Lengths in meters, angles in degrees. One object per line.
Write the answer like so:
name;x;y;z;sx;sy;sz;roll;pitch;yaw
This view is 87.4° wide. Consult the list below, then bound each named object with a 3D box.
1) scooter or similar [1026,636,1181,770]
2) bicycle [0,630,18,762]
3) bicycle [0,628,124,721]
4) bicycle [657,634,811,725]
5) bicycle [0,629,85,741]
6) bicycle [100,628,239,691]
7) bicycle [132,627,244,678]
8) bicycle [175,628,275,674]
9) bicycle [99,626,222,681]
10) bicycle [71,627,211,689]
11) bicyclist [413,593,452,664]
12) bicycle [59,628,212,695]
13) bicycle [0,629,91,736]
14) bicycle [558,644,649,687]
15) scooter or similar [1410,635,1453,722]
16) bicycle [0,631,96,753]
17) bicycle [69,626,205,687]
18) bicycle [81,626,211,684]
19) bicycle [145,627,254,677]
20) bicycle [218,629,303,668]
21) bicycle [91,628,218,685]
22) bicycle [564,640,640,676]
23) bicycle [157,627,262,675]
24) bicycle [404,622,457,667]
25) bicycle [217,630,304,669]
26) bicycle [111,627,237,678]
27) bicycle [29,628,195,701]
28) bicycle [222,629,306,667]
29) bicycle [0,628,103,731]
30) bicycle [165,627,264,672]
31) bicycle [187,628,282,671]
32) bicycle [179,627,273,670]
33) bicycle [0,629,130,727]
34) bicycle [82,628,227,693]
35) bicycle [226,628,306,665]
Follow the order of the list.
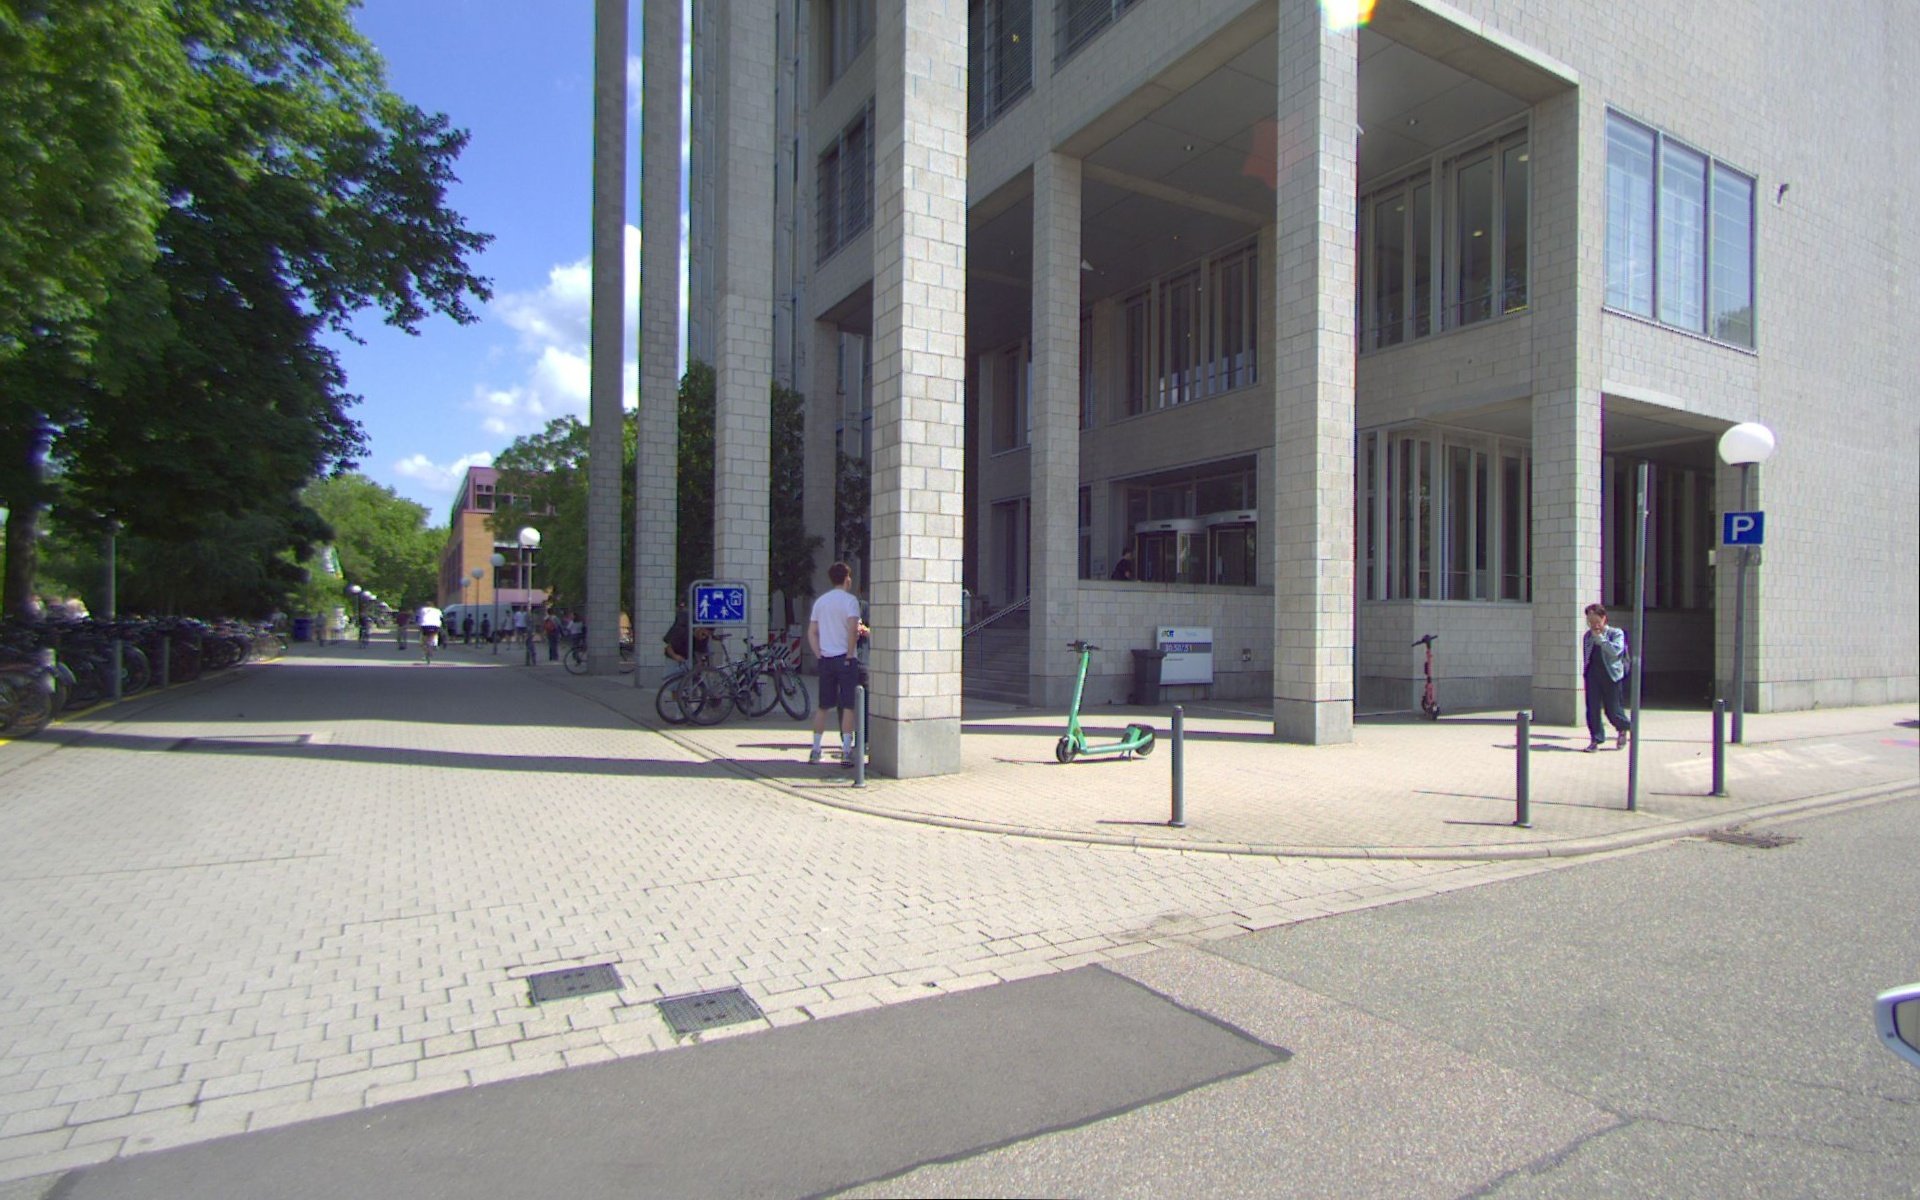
scooter or similar;1.427;0.979;9.901;1.528;1.240;0.453;1;-1;-26
bicycle;-9.038;0.800;8.140;1.949;1.101;0.549;1;0;-30
bicycle;-11.593;0.904;12.334;1.949;1.101;0.549;1;0;-30
bicycle;-2.852;0.986;12.736;1.840;1.028;0.463;-1;1;-26
bicycle;-10.155;0.851;10.095;1.949;1.101;0.549;1;0;-30
bicycle;-14.648;1.090;18.670;1.949;1.101;0.549;1;0;-30
bicycle;-17.478;1.181;22.792;1.949;1.101;0.549;1;0;-30
bicycle;-18.370;1.259;25.166;1.949;1.101;0.549;1;0;-30
bicycle;-16.922;1.131;21.308;1.949;1.101;0.549;1;0;-30
bicycle;-15.375;1.075;18.916;1.949;1.101;0.549;1;0;-30
bicyclist;-15.423;0.841;29.386;0.862;2.040;0.846;1;-1;-18
bicycle;-14.227;1.046;17.400;1.949;1.101;0.549;1;0;-30
bicycle;-10.481;0.861;10.557;1.949;1.101;0.549;1;0;-30
bicycle;-8.435;1.534;23.824;1.971;0.958;0.523;1;-1;-31
scooter or similar;7.123;1.158;15.209;0.516;1.226;1.557;0;-1;23
bicycle;-9.316;0.842;9.259;1.949;1.101;0.549;1;0;-30
bicycle;-15.855;1.081;19.410;1.949;1.101;0.549;1;0;-30
bicycle;-16.277;1.100;20.142;1.949;1.101;0.549;1;0;-30
bicycle;-17.700;1.203;23.438;1.949;1.101;0.549;1;0;-30
bicycle;-19.753;1.365;28.408;1.953;1.037;0.613;1;0;-35
bicycle;-16.564;1.155;20.706;1.949;1.101;0.549;1;0;-30
bicycle;-8.493;1.373;23.855;1.667;0.820;0.375;1;-1;-31
bicycle;-18.122;1.228;24.302;1.949;1.101;0.549;1;0;-30
bicycle;-15.390;1.277;29.260;0.871;1.215;2.739;1;-1;-18
bicycle;-19.372;1.354;27.870;1.953;1.037;0.613;1;0;-35
bicycle;-17.269;1.143;22.135;2.104;1.082;0.495;1;-1;-31
bicycle;-13.528;1.010;16.096;1.949;1.101;0.549;1;0;-30
bicycle;-20.048;1.383;28.967;1.953;1.037;0.613;1;0;-35
bicycle;-10.795;0.874;11.075;1.949;1.101;0.549;1;0;-30
bicycle;-18.946;1.257;25.567;1.949;1.101;0.549;1;0;-30
bicycle;-19.048;1.293;26.405;1.949;1.101;0.549;1;0;-30
bicycle;-19.632;1.296;26.919;1.949;1.101;0.549;1;0;-30
bicycle;-10.999;0.896;11.708;1.949;1.101;0.549;1;0;-30
bicycle;-14.424;1.069;18.047;1.949;1.101;0.549;1;0;-30
bicycle;-21.401;1.424;31.017;1.949;1.101;0.549;1;0;-30
